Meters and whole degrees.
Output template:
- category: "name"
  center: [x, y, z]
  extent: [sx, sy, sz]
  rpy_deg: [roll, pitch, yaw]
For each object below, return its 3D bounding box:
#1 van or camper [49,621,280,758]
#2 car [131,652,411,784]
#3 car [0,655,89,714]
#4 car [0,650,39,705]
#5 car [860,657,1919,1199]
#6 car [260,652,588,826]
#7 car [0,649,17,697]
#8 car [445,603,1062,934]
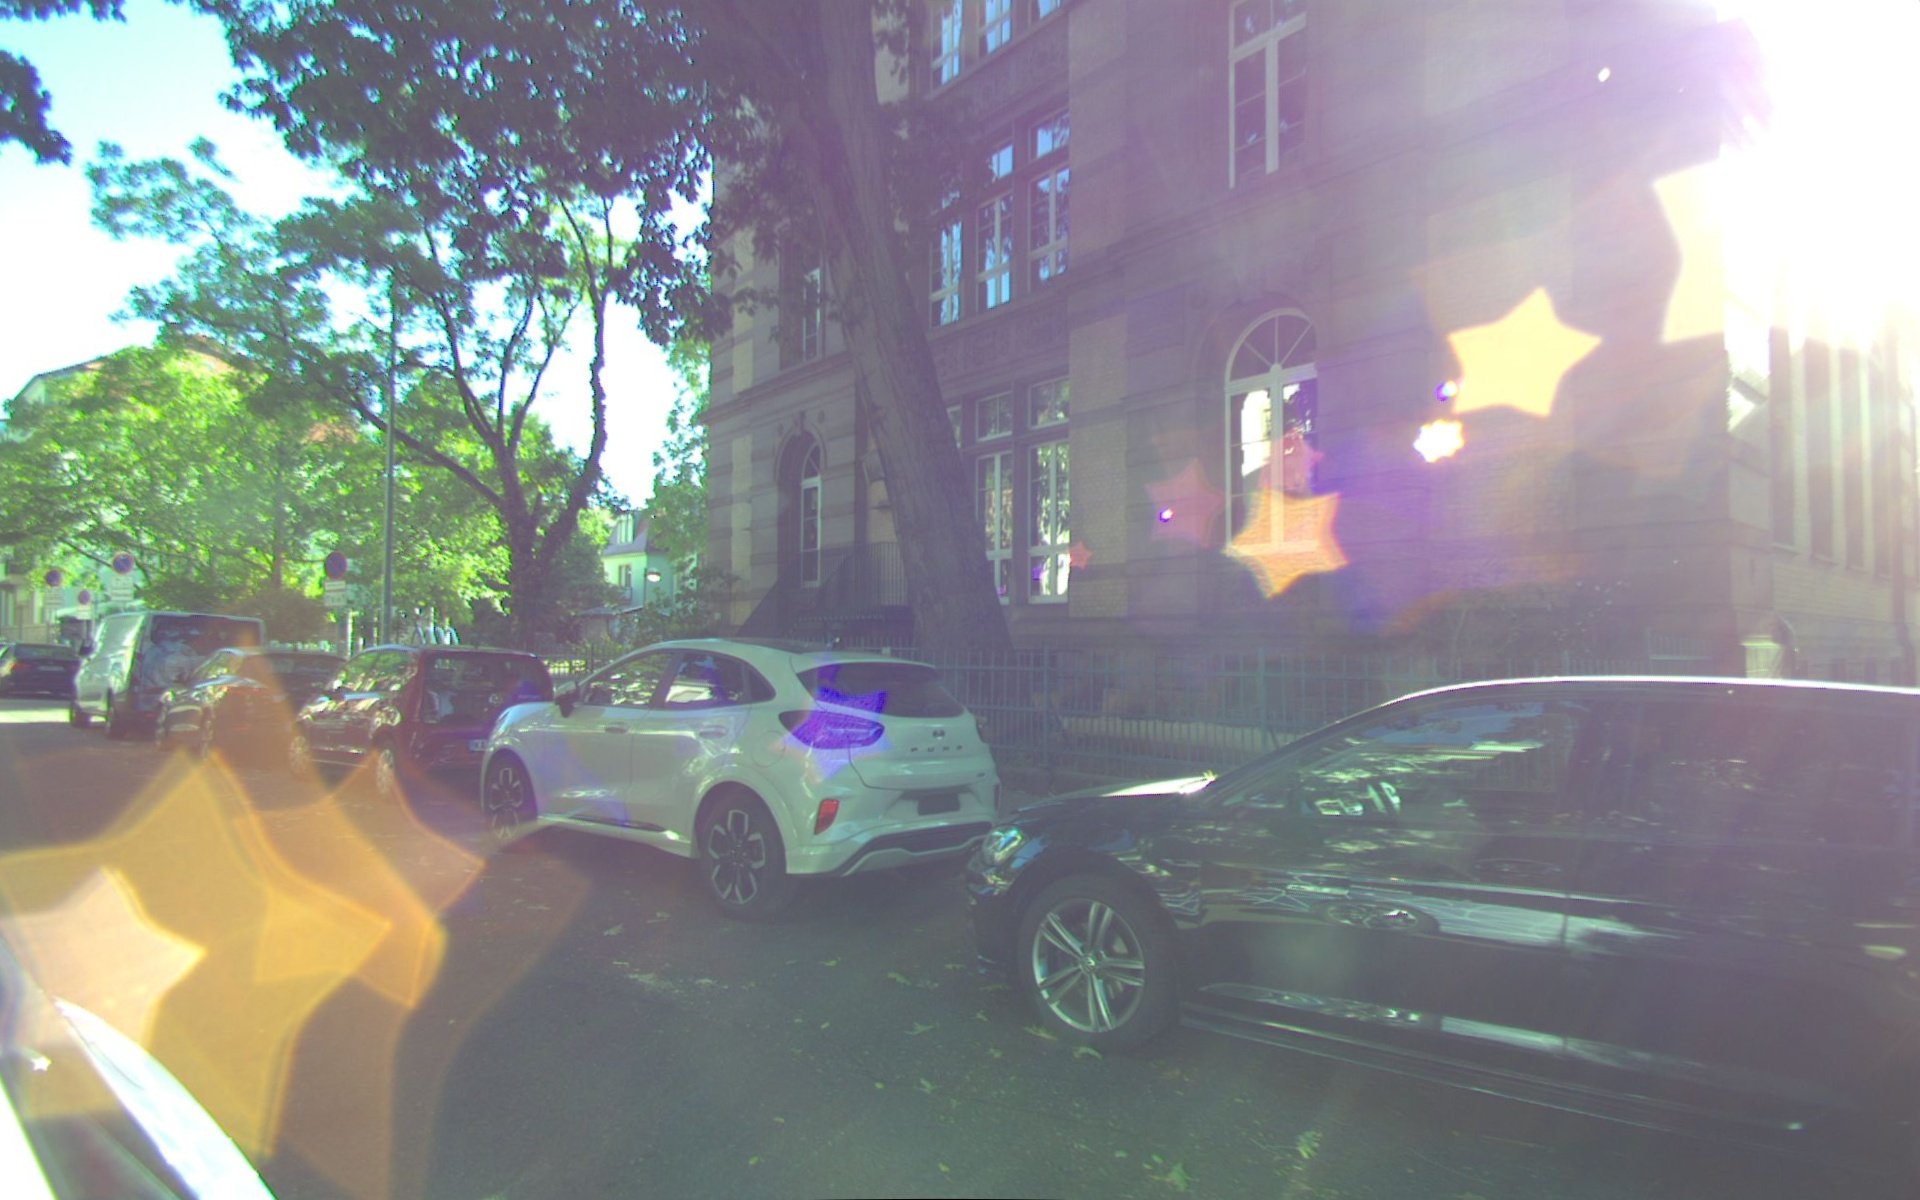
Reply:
- category: "van or camper"
  center: [-13.661, 1.459, 17.240]
  extent: [5.457, 1.995, 1.902]
  rpy_deg: [-2, -6, 40]
- category: "car"
  center: [-9.430, 1.484, 13.696]
  extent: [4.603, 1.469, 1.980]
  rpy_deg: [-2, -6, 41]
- category: "car"
  center: [-24.654, 2.195, 26.703]
  extent: [4.775, 1.406, 1.696]
  rpy_deg: [-2, -7, 40]
- category: "car"
  center: [-29.466, 2.331, 30.761]
  extent: [4.150, 1.585, 1.658]
  rpy_deg: [-3, -7, 42]
- category: "car"
  center: [1.909, 1.009, 3.678]
  extent: [4.454, 1.486, 1.731]
  rpy_deg: [-2, -7, 36]
- category: "car"
  center: [-5.688, 1.319, 10.537]
  extent: [4.025, 1.471, 1.585]
  rpy_deg: [-3, -7, 41]
- category: "car"
  center: [-34.097, 2.474, 34.886]
  extent: [4.466, 1.603, 1.762]
  rpy_deg: [-2, -6, 41]
- category: "car"
  center: [-1.552, 0.943, 6.841]
  extent: [4.128, 1.566, 1.807]
  rpy_deg: [-2, -7, 39]
